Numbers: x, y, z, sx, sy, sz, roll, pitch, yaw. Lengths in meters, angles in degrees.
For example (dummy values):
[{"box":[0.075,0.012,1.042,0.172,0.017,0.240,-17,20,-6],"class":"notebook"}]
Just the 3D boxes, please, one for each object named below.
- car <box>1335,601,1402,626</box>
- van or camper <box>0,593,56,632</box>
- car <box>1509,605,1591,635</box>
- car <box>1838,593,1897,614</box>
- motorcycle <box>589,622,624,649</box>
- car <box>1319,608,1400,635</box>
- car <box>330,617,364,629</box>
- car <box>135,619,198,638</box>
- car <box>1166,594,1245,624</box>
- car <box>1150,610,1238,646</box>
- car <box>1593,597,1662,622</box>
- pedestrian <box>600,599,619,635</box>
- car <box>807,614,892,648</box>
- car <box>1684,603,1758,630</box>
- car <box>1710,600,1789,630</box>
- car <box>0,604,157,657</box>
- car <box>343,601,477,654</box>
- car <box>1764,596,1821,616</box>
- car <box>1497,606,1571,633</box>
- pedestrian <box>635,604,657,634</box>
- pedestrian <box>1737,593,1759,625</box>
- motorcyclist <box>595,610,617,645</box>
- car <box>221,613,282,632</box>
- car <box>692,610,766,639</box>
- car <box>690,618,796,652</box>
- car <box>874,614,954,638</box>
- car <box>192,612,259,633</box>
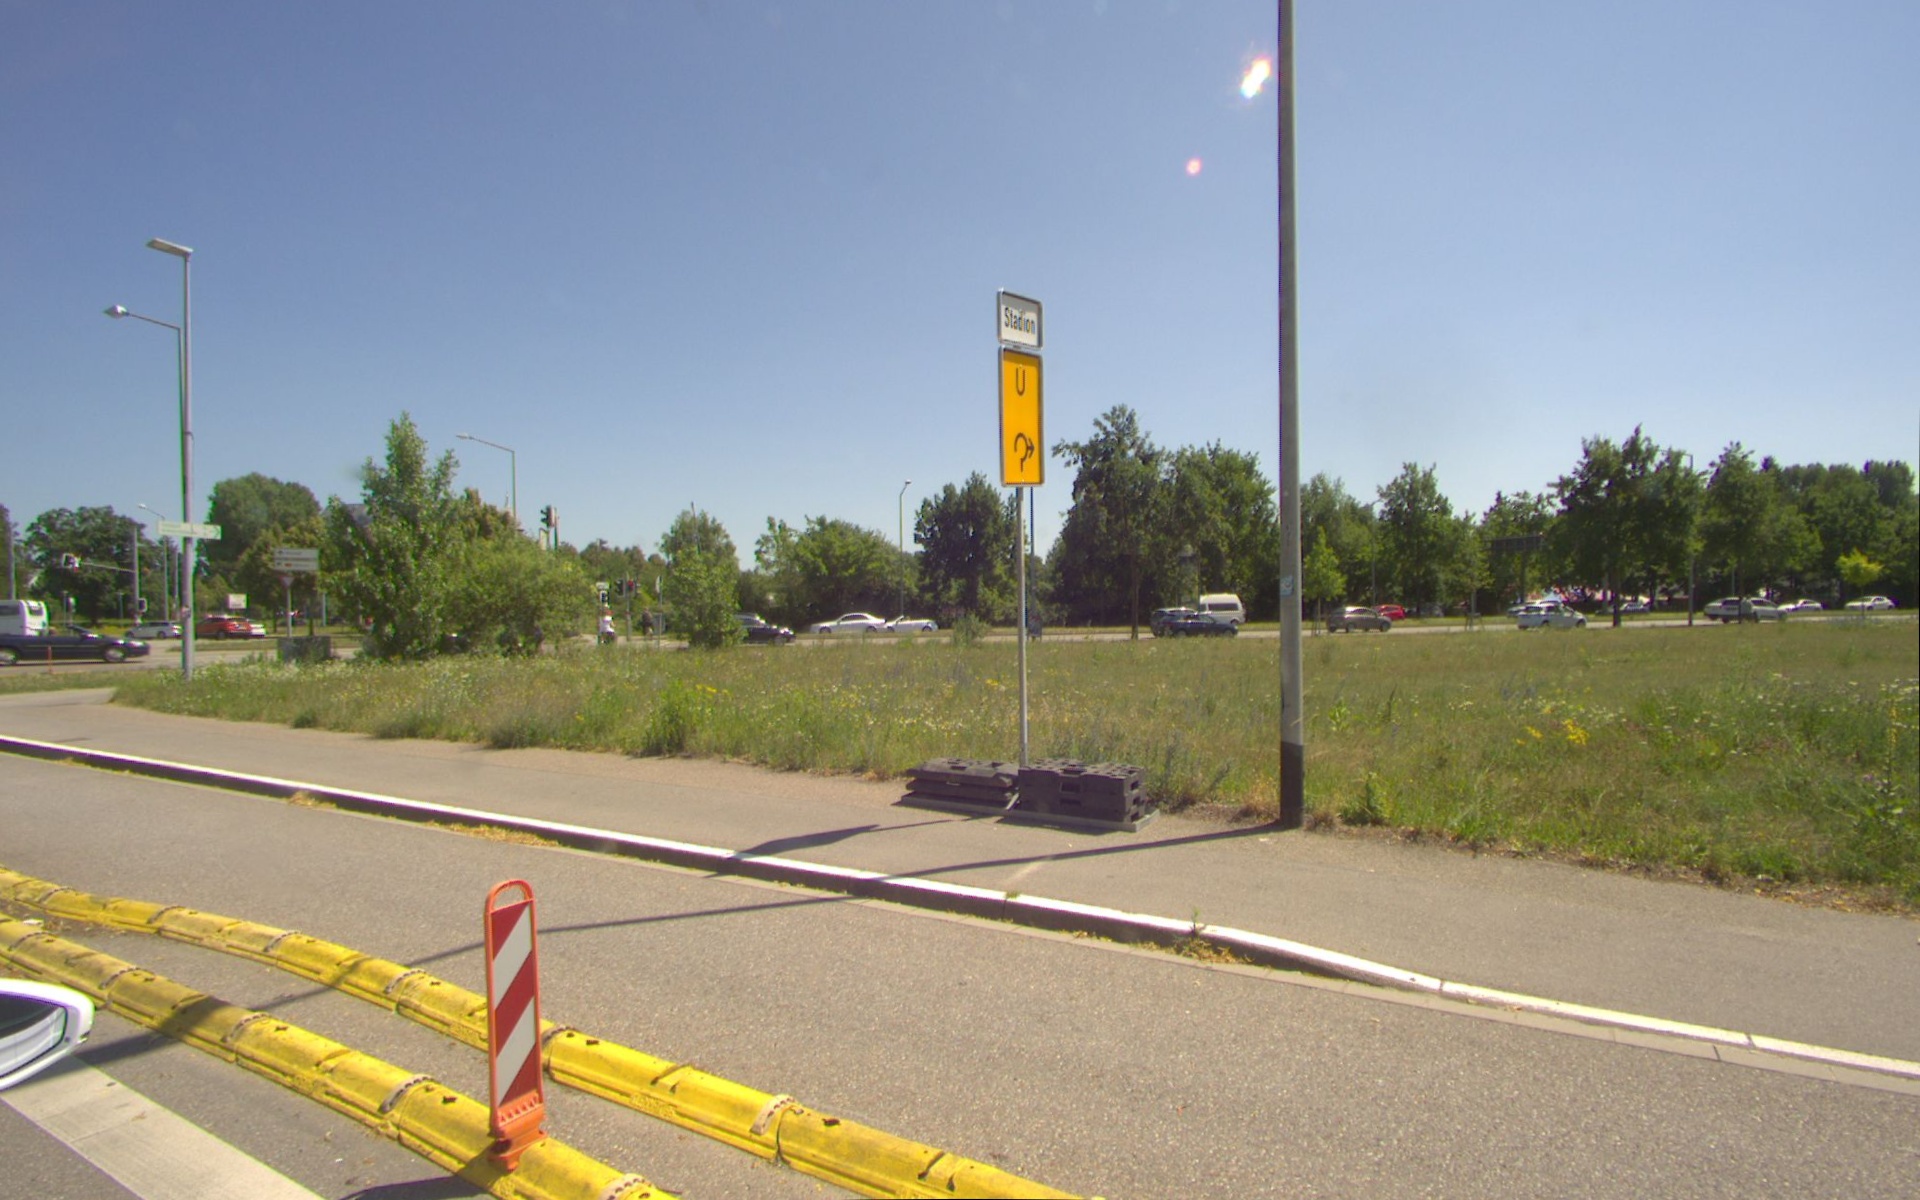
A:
[{"box":[31.520,1.080,77.292,4.521,1.874,1.997,0,-1,-15],"class":"car"},{"box":[-68.590,0.913,70.282,7.373,2.728,2.511,0,-1,-13],"class":"van or camper"},{"box":[33.505,1.149,56.848,3.938,1.641,1.679,0,-1,-13],"class":"car"},{"box":[79.960,0.328,88.285,3.927,1.739,1.998,0,-1,-14],"class":"car"},{"box":[-13.112,1.314,37.165,0.619,0.982,1.709,0,-1,3],"class":"motorcycle"},{"box":[23.159,1.263,58.077,4.187,1.543,1.819,0,-1,-17],"class":"car"},{"box":[-88.216,3.321,144.171,1.964,1.736,3.996,0,-1,16],"class":"car"},{"box":[-60.724,2.184,76.634,3.722,1.442,1.655,0,-1,9],"class":"car"},{"box":[17.019,0.660,69.509,4.993,2.040,1.997,0,-1,-15],"class":"car"},{"box":[11.688,1.403,50.123,3.929,1.750,1.787,0,-1,-16],"class":"car"},{"box":[55.811,0.814,83.721,4.993,2.040,1.997,0,-1,-15],"class":"car"},{"box":[-18.515,0.920,52.862,0.726,1.894,0.648,-1,-1,34],"class":"pedestrian"},{"box":[-6.894,1.891,62.169,4.993,2.040,1.997,0,-1,-15],"class":"car"},{"box":[52.626,1.166,69.256,4.189,1.839,1.996,0,-1,-18],"class":"car"},{"box":[50.462,0.979,64.015,4.189,1.839,1.996,0,-1,-18],"class":"car"},{"box":[-30.026,0.995,33.371,1.979,1.677,4.909,-1,-2,44],"class":"car"},{"box":[-20.308,1.009,37.062,1.979,1.839,3.966,-1,-1,43],"class":"car"},{"box":[74.983,0.528,90.185,3.927,1.739,1.998,0,-1,-14],"class":"car"},{"box":[44.076,1.484,76.869,4.993,2.040,1.997,0,-1,-15],"class":"car"},{"box":[-16.748,1.016,53.399,0.813,1.583,0.788,-1,-1,43],"class":"pedestrian"},{"box":[38.643,0.443,49.109,0.724,1.583,0.497,0,0,-18],"class":"pedestrian"},{"box":[-13.137,1.024,37.210,0.570,1.306,0.615,0,-1,3],"class":"motorcyclist"},{"box":[-50.104,1.624,70.828,3.727,1.317,1.653,-1,-1,18],"class":"car"},{"box":[-14.621,1.536,63.607,4.521,1.829,1.998,0,-1,-12],"class":"car"},{"box":[-9.957,1.591,45.967,4.462,1.466,1.816,0,-1,-26],"class":"car"},{"box":[-3.067,1.720,66.684,4.993,1.505,1.998,0,-1,-15],"class":"car"},{"box":[-47.762,1.477,65.162,3.727,1.317,1.653,-1,-1,18],"class":"car"}]
